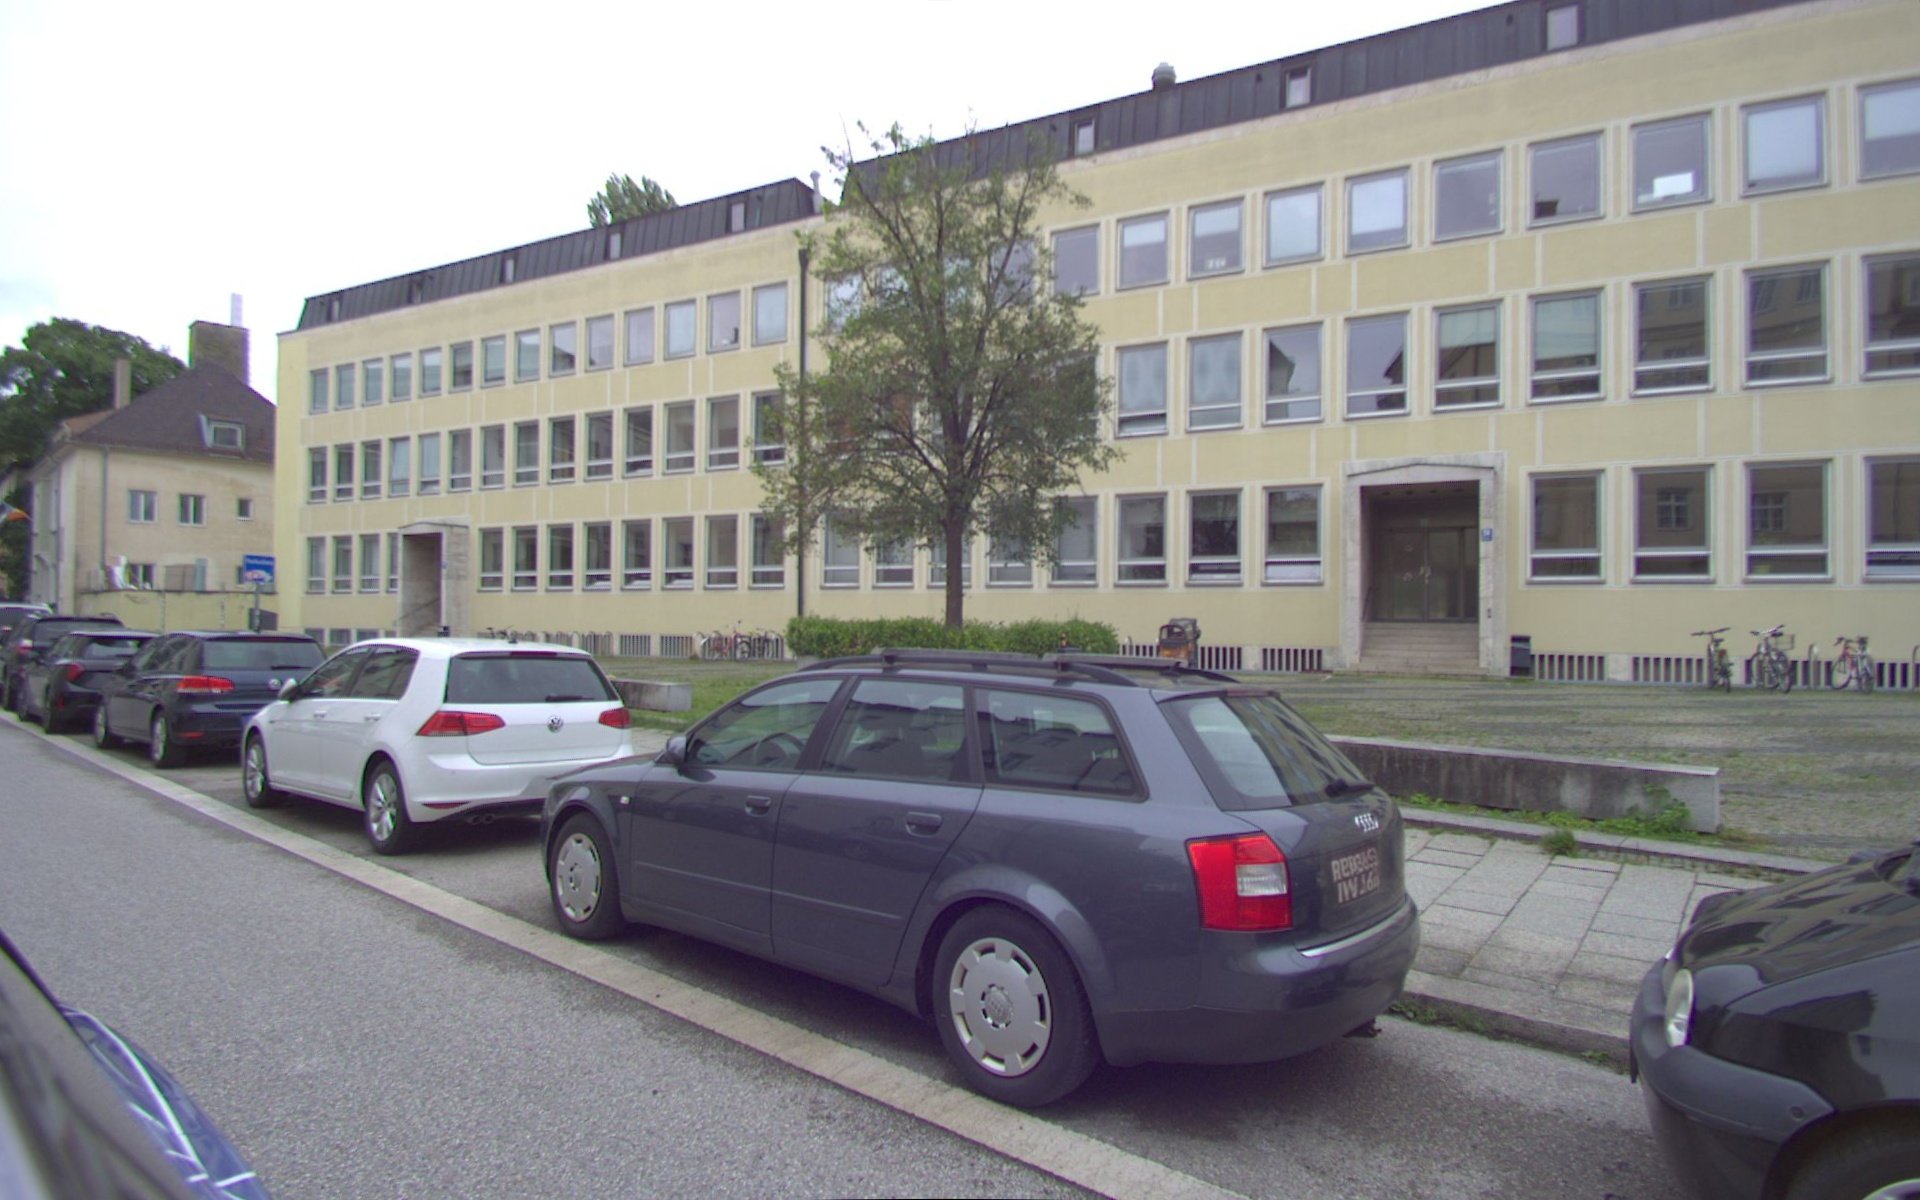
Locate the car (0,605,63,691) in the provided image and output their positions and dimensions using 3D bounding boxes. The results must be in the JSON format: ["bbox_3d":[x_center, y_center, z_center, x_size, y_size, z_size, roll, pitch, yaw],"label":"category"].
[{"bbox_3d":[-24.308,1.151,25.338,5.017,1.994,1.909,-1,-3,39],"label":"car"}]

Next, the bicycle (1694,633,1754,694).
[{"bbox_3d":[13.898,1.129,18.450,0.623,1.022,1.932,-1,-2,31],"label":"bicycle"}]

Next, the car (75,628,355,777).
[{"bbox_3d":[-8.875,1.088,11.946,3.969,1.465,1.640,-1,-4,39],"label":"car"}]

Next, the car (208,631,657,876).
[{"bbox_3d":[-4.349,1.016,8.094,4.068,1.465,1.640,-1,-4,39],"label":"car"}]

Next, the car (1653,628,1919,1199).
[{"bbox_3d":[3.255,0.808,1.730,3.308,1.465,1.640,-1,-4,39],"label":"car"}]

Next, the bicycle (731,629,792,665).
[{"bbox_3d":[-5.834,1.371,29.837,0.623,1.022,1.932,-1,-2,31],"label":"bicycle"}]

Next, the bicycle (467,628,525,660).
[{"bbox_3d":[-15.947,1.509,34.829,0.577,1.022,1.937,-1,0,24],"label":"bicycle"}]

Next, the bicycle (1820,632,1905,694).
[{"bbox_3d":[15.916,1.083,17.896,0.622,1.022,1.935,-1,-2,27],"label":"bicycle"}]

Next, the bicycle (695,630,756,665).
[{"bbox_3d":[-7.063,1.423,30.570,0.623,1.022,1.932,-1,-2,31],"label":"bicycle"}]

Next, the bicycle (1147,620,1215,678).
[{"bbox_3d":[5.163,1.106,23.505,1.050,1.258,2.422,-1,-1,24],"label":"bicycle"}]

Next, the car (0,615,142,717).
[{"bbox_3d":[-16.790,1.177,18.704,4.446,1.679,1.725,-1,-5,41],"label":"car"}]

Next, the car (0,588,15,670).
[{"bbox_3d":[-33.859,0.971,34.264,5.653,2.666,2.272,-1,-3,43],"label":"car"}]

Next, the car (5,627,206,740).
[{"bbox_3d":[-12.855,1.167,15.147,3.867,1.465,1.663,-1,-4,41],"label":"car"}]

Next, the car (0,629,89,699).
[{"bbox_3d":[-20.738,1.357,22.378,3.917,1.398,1.725,-1,-1,42],"label":"car"}]

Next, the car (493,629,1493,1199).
[{"bbox_3d":[-0.211,0.893,4.586,4.393,1.465,1.737,-1,-4,40],"label":"car"}]

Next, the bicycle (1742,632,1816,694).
[{"bbox_3d":[14.684,1.104,18.185,0.622,1.022,1.935,-1,-2,27],"label":"bicycle"}]
